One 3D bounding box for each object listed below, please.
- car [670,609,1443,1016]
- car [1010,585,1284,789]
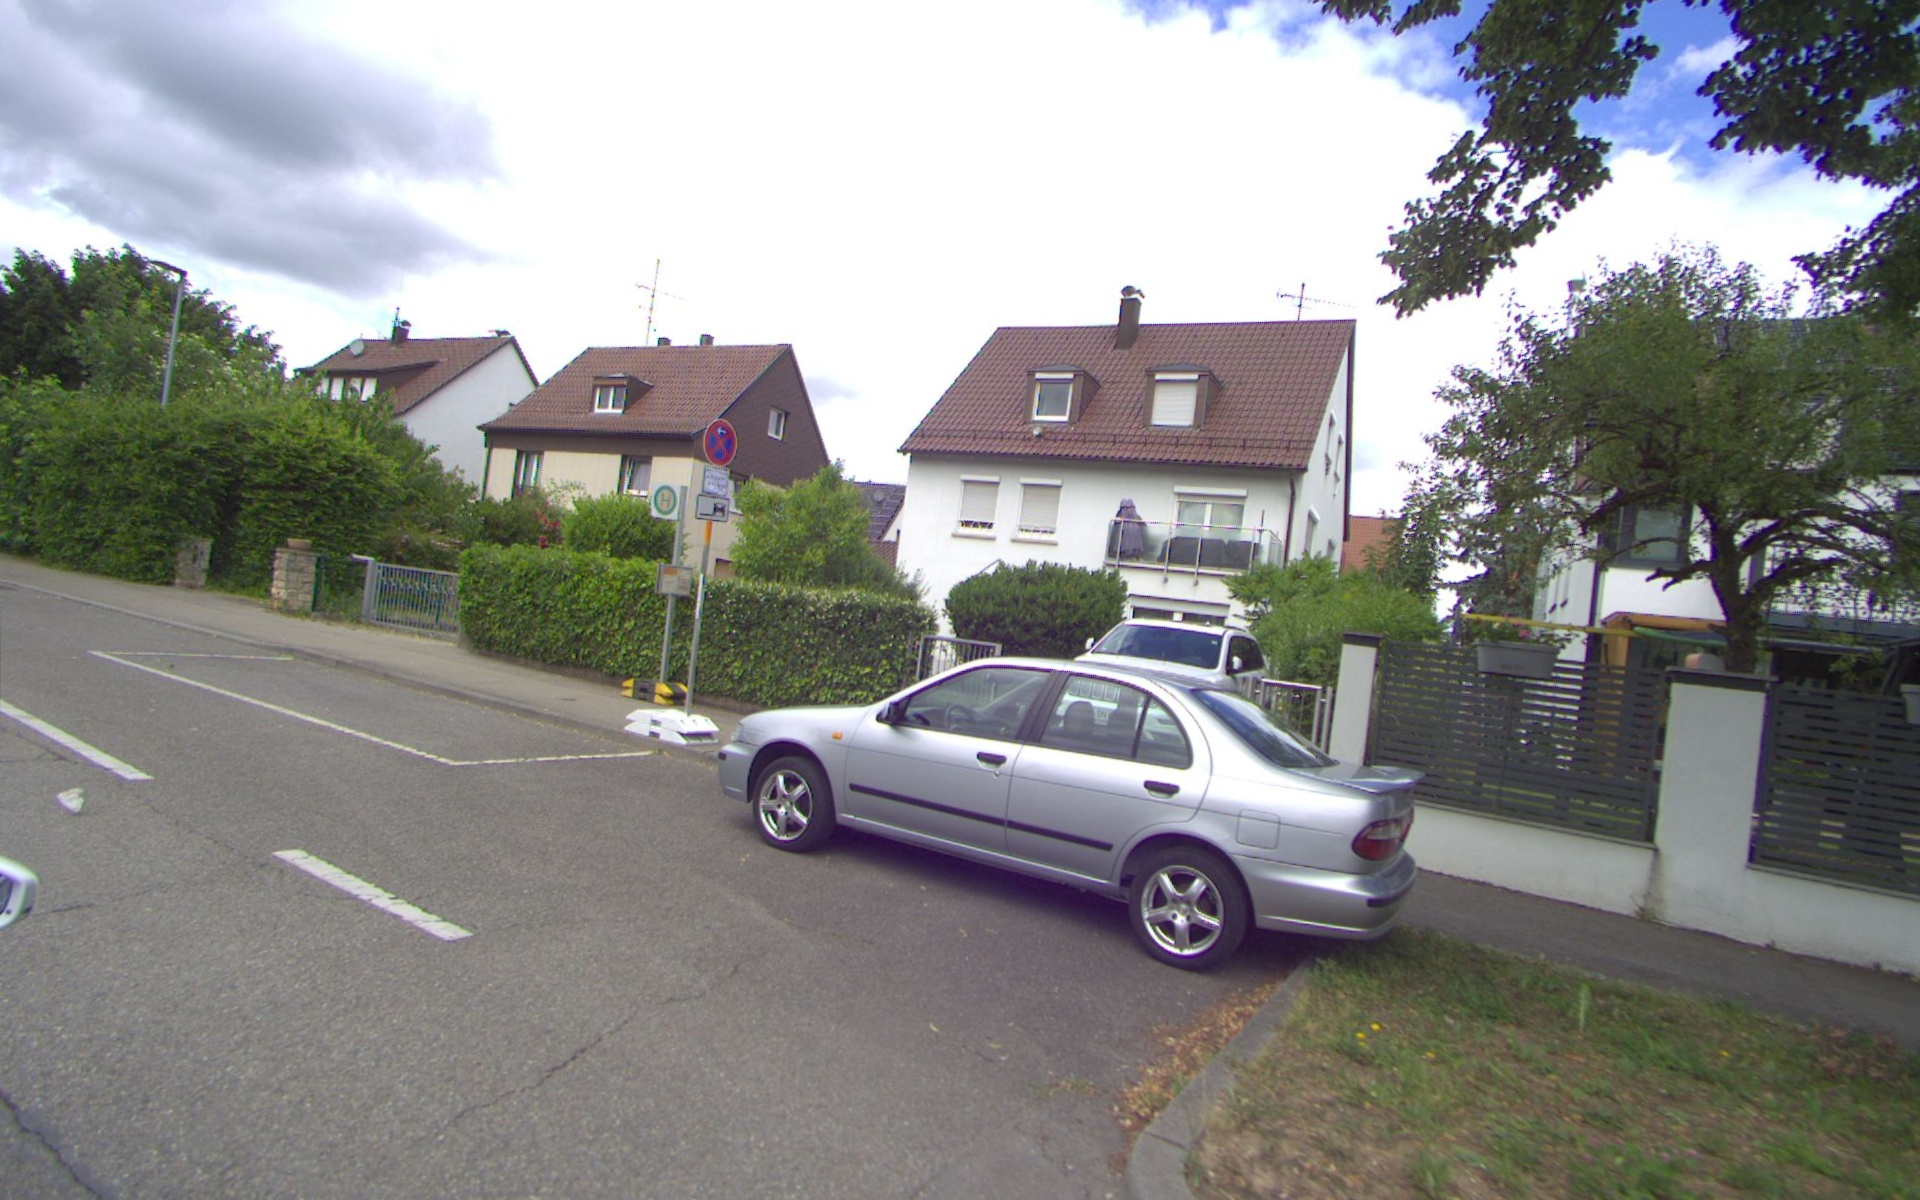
[{"bbox_3d":[0.428,1.001,6.134,4.314,1.392,1.615,5,-2,31],"label":"car"},{"bbox_3d":[2.447,1.042,12.208,1.965,1.844,3.998,7,-2,28],"label":"car"}]
